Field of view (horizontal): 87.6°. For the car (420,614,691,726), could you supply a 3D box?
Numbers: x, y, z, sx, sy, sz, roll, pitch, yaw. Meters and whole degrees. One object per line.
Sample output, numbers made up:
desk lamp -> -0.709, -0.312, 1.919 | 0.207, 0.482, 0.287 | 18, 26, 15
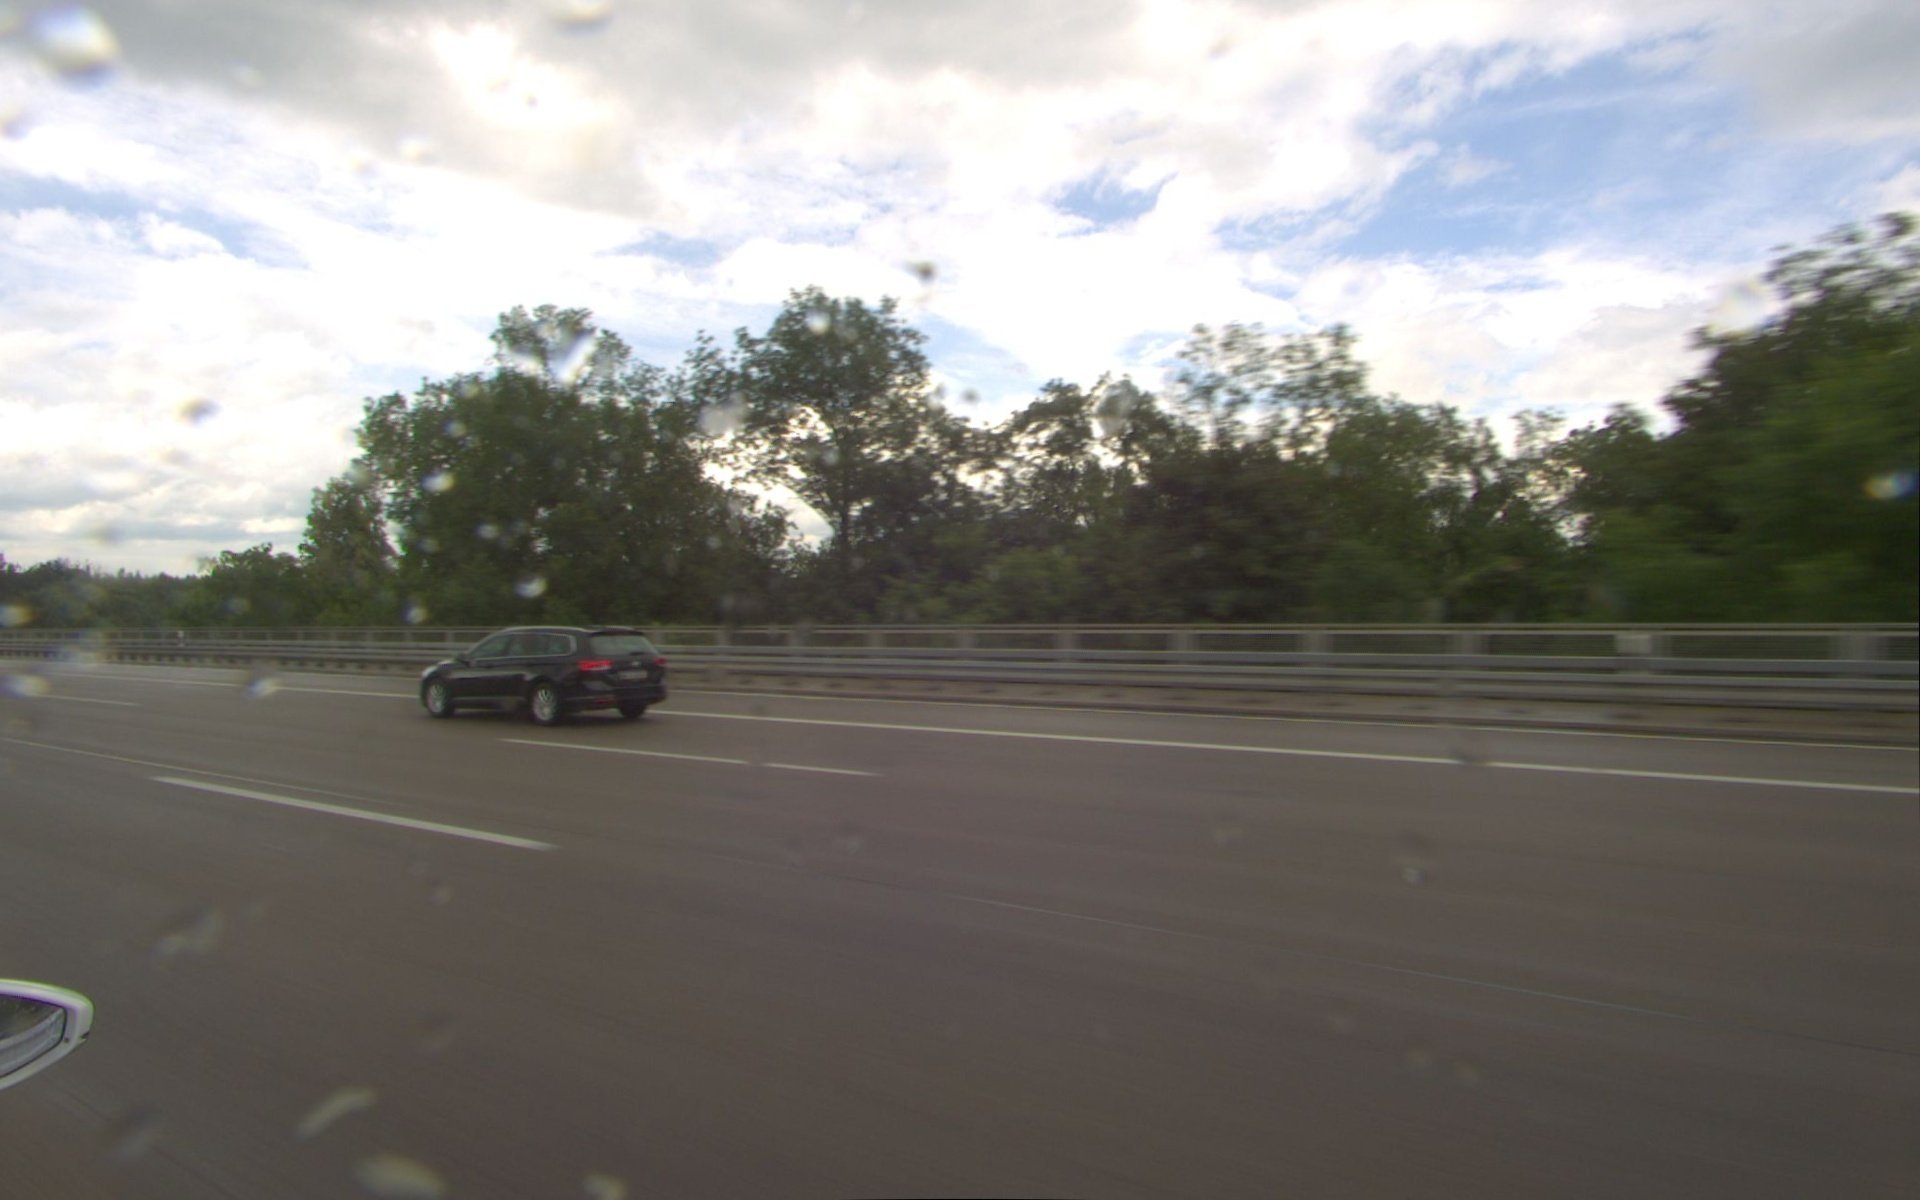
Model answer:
car -> -6.497, 1.015, 15.968 | 4.293, 1.563, 1.812 | 0, -1, 31

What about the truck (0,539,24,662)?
truck -> -38.758, 0.041, 36.653 | 15.418, 4.056, 3.145 | 0, 0, 34
